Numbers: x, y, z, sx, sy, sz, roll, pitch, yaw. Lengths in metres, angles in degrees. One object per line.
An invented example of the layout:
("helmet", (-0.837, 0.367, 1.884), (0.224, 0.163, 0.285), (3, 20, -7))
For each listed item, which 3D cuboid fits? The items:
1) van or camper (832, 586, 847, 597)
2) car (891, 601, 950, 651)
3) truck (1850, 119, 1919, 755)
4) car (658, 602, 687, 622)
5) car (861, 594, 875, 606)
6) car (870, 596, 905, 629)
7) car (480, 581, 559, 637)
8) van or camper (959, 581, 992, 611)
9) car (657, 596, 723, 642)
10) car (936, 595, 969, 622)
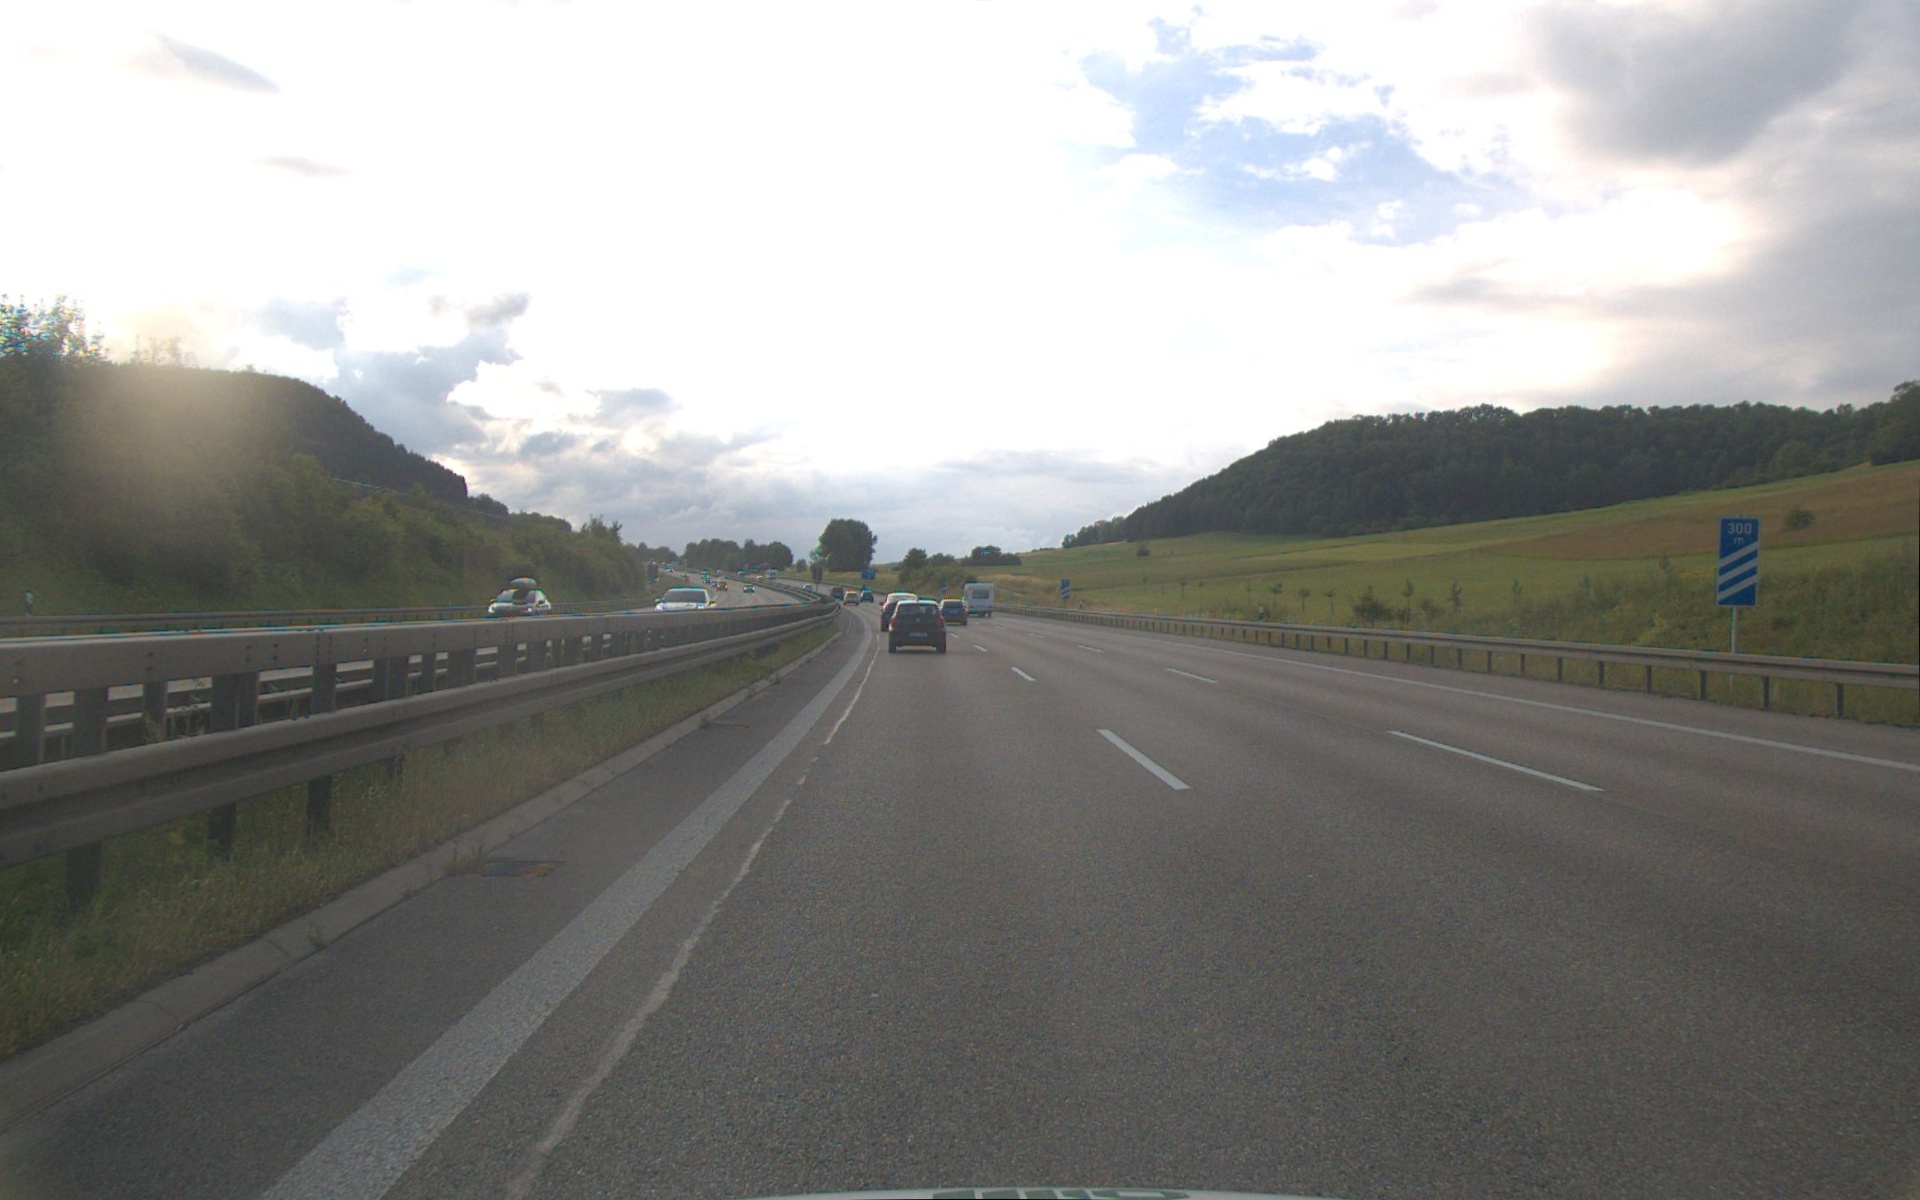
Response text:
("van or camper", (-17.079, -1.158, 234.450), (1.926, 1.458, 3.999), (1, 0, -2))
("car", (-1.104, 0.726, 47.607), (1.506, 1.371, 3.678), (0, 0, 2))
("truck", (7.692, -1.019, 2.515), (2.904, 4.062, 17.729), (0, 0, -1))
("car", (-21.034, 0.863, 121.022), (1.673, 1.440, 3.997), (1, 0, -4))
("car", (-12.373, -0.038, 222.312), (1.918, 1.601, 3.998), (0, 0, -3))
("car", (-3.227, 0.542, 74.232), (1.533, 1.404, 3.998), (0, 0, -2))
("car", (-17.198, 0.330, 64.815), (1.923, 2.076, 5.017), (1, 0, -3))
("van or camper", (1.250, -0.337, 128.888), (2.495, 2.278, 5.330), (0, 0, 2))
("car", (-9.828, 0.675, 60.615), (1.796, 1.619, 5.017), (1, 0, -3))
("car", (-0.464, 0.475, 95.263), (1.731, 1.458, 3.998), (0, 0, -3))
